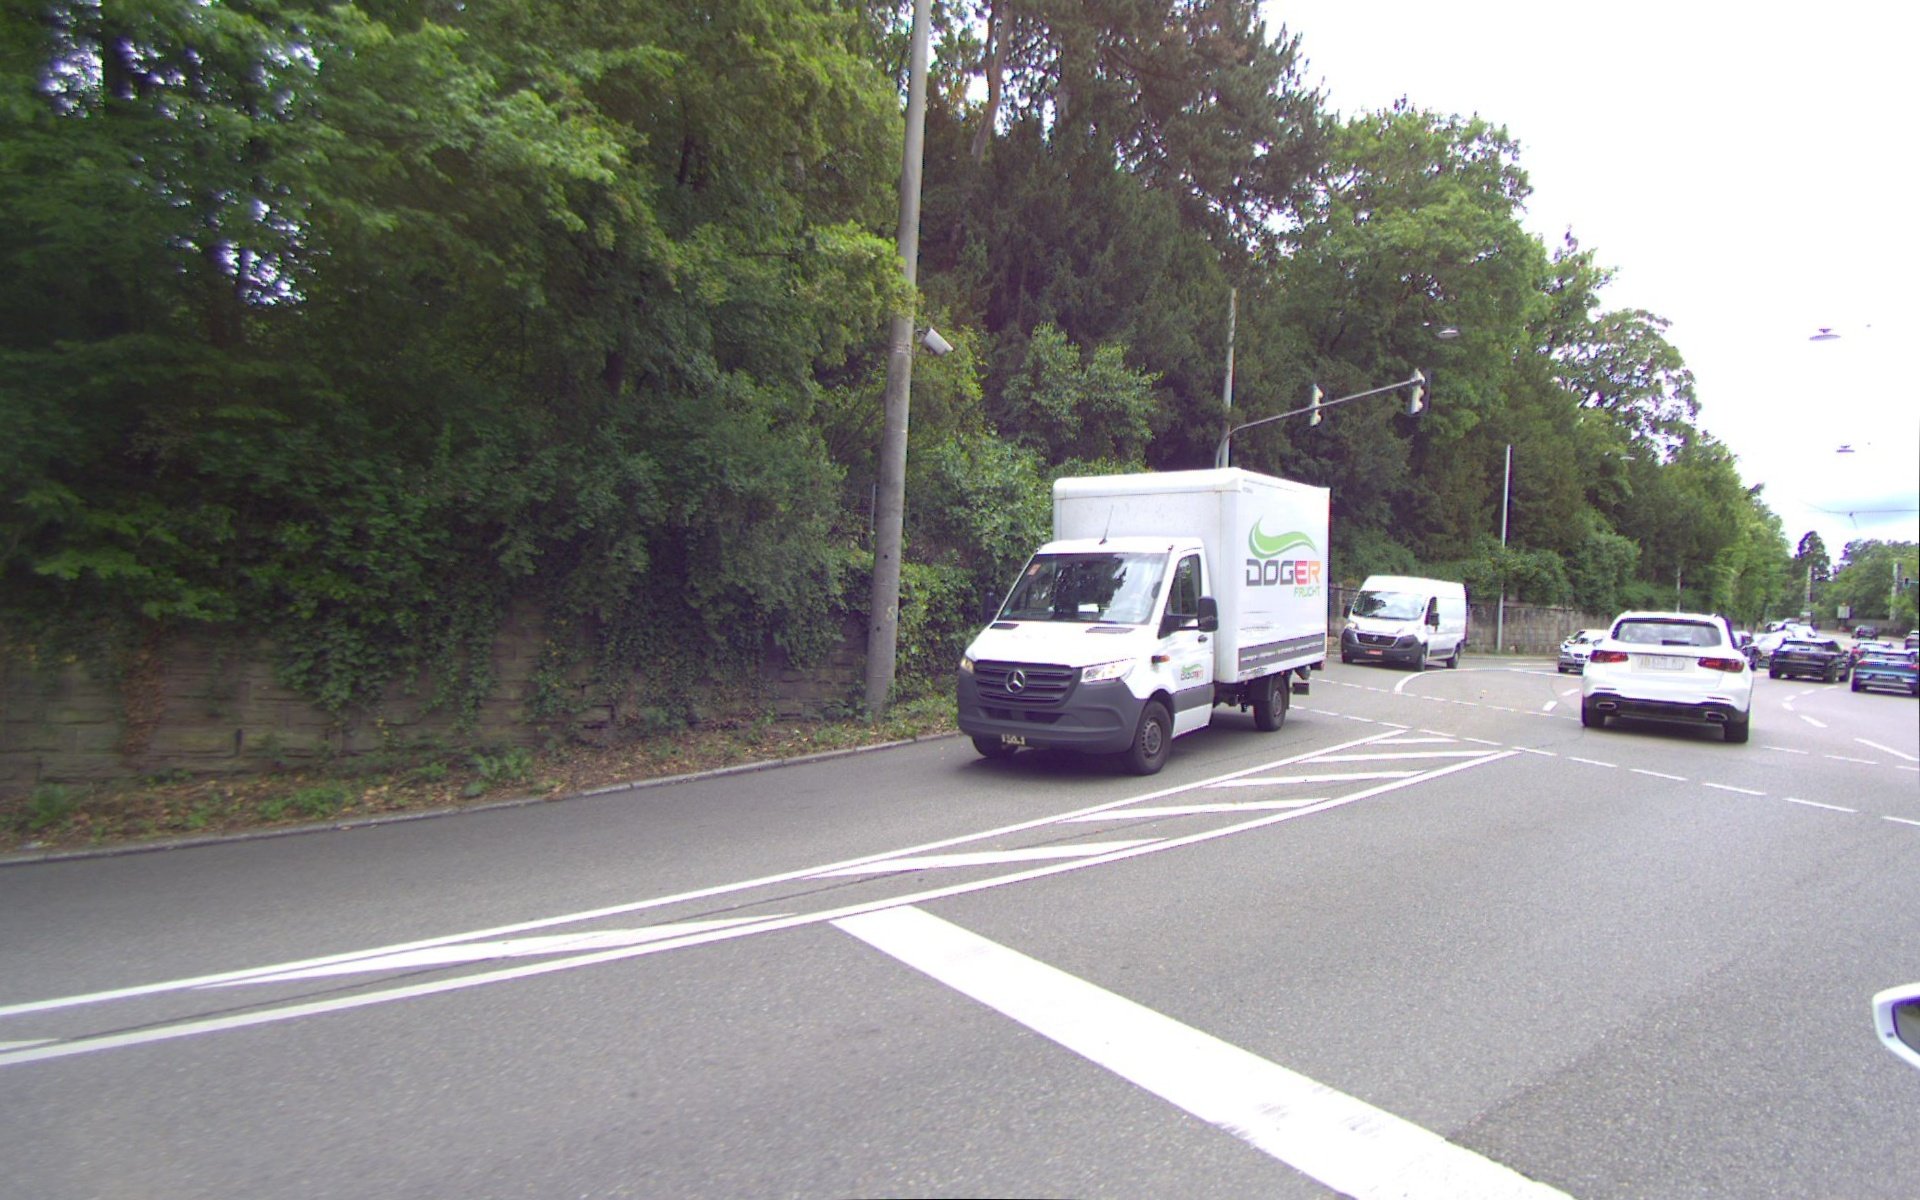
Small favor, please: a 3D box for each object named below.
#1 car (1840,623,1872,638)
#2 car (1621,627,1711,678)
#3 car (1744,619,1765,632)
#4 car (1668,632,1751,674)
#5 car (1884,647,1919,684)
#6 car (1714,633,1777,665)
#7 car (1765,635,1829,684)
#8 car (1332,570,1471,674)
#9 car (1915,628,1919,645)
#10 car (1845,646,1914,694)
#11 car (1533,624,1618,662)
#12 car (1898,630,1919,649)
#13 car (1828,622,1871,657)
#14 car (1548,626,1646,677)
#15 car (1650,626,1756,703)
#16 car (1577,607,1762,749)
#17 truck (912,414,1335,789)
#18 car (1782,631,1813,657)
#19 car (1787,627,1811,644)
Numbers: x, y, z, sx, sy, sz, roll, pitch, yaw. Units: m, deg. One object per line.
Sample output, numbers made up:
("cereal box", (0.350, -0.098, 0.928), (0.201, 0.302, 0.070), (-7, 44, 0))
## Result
("car", (96.536, 3.247, 108.240), (1.621, 1.470, 3.543), (3, 0, 26))
("car", (27.078, 2.018, 38.473), (4.370, 1.658, 1.973), (3, 2, -45))
("car", (116.055, 3.667, 146.703), (1.723, 1.810, 3.993), (3, 0, 29))
("car", (32.476, 2.301, 43.466), (4.445, 1.588, 1.877), (3, 2, -41))
("car", (42.130, 2.883, 44.463), (1.666, 1.443, 3.687), (3, 1, 44))
("car", (39.806, 2.449, 50.877), (4.032, 1.460, 1.800), (2, 2, -43))
("car", (33.458, 2.323, 40.132), (1.767, 1.658, 3.717), (5, 3, 41))
("car", (12.377, 0.623, 27.899), (1.969, 2.445, 5.872), (6, 2, 38))
("car", (86.293, 3.277, 89.387), (1.628, 1.470, 3.529), (3, 1, 41))
("car", (32.286, 2.429, 35.241), (1.611, 1.438, 3.832), (5, 1, 44))
("car", (27.275, 1.921, 44.491), (4.023, 1.424, 1.628), (3, 2, -34))
("car", (76.029, 3.138, 79.776), (1.624, 1.470, 3.535), (3, 0, 35))
("car", (48.534, 2.162, 54.857), (1.614, 1.844, 3.982), (1, -1, 40))
("car", (21.535, 1.718, 33.889), (4.450, 1.461, 1.739), (3, 2, -44))
("car", (18.089, 1.540, 24.548), (1.840, 1.554, 4.761), (4, 0, 36))
("car", (10.358, 1.026, 14.613), (1.835, 1.627, 4.653), (4, 0, 37))
("truck", (2.305, 0.027, 11.673), (2.370, 3.130, 6.324), (-1, 0, 35))
("car", (69.770, 3.645, 83.668), (1.715, 2.040, 3.909), (3, 1, 43))
("car", (80.655, 3.378, 96.577), (1.627, 1.470, 3.529), (3, 2, 40))
